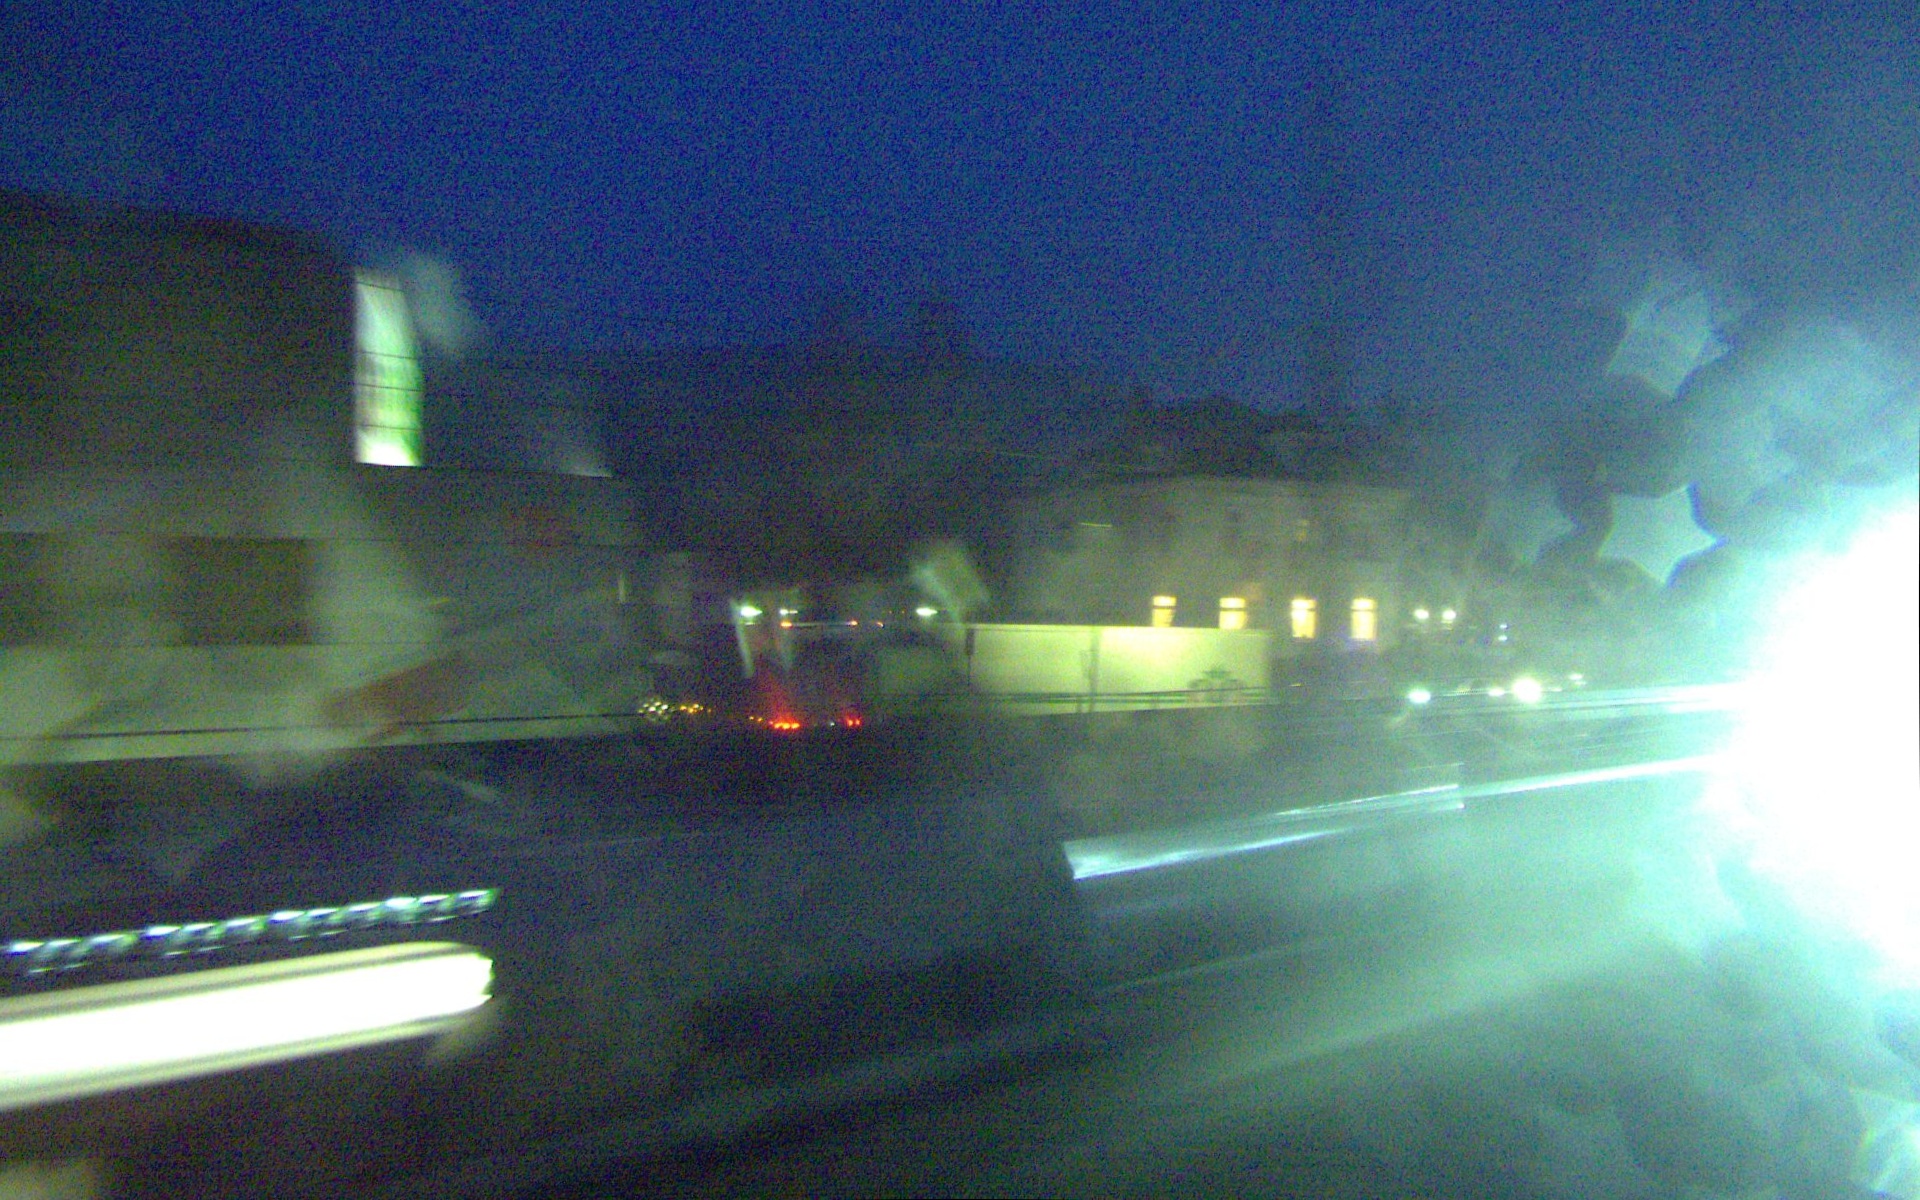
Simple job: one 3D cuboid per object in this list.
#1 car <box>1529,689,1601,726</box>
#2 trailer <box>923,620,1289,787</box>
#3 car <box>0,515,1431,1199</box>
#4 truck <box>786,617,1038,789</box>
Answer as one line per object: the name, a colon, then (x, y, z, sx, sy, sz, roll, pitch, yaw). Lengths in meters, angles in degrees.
car: (31.284, 5.521, 51.917, 4.255, 1.591, 1.794, 2, 0, -39)
trailer: (4.729, 3.250, 32.793, 11.362, 4.860, 3.328, 2, 0, -15)
car: (-0.397, 0.699, 3.183, 3.727, 1.539, 1.628, 2, -2, -31)
truck: (-1.571, 3.063, 31.136, 7.197, 4.860, 3.328, 2, 0, -15)
